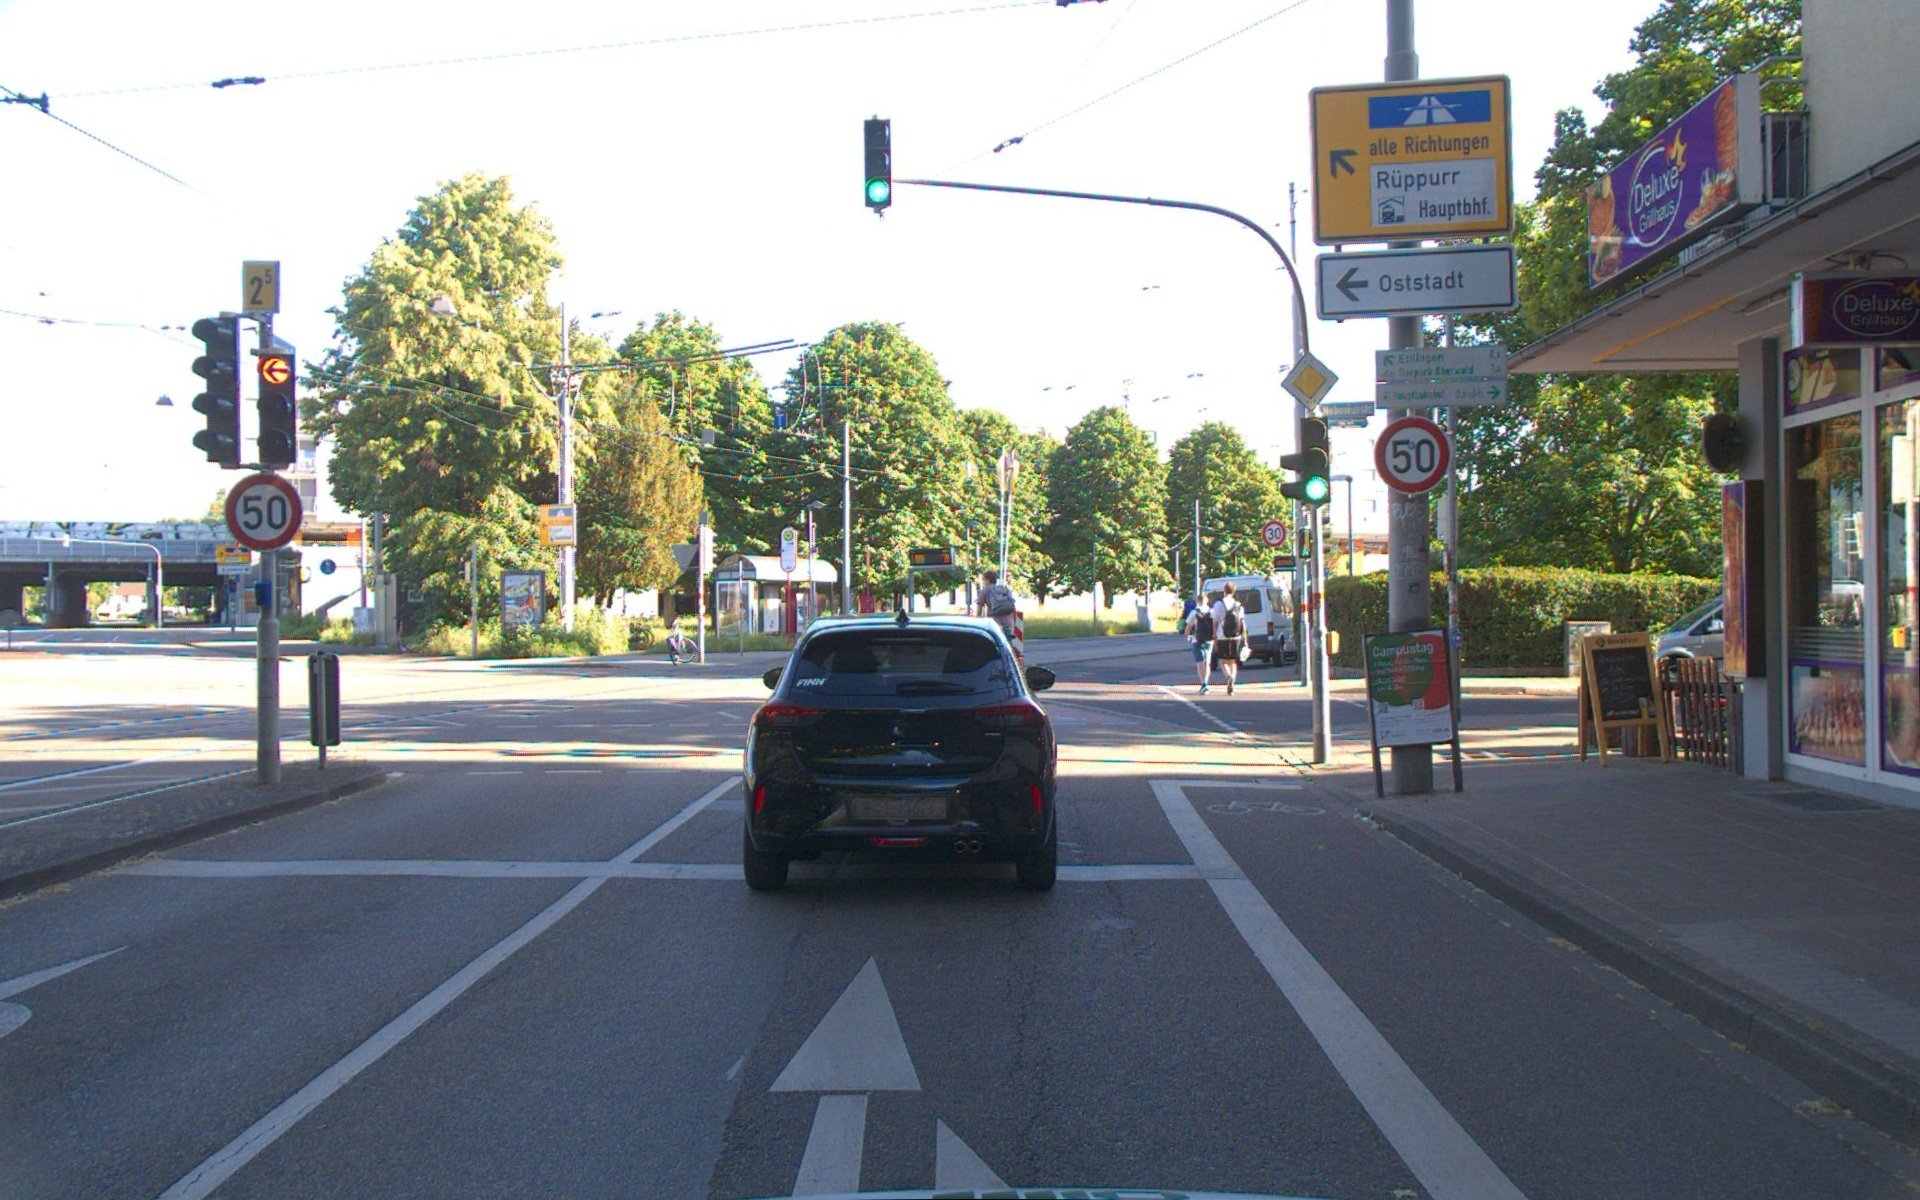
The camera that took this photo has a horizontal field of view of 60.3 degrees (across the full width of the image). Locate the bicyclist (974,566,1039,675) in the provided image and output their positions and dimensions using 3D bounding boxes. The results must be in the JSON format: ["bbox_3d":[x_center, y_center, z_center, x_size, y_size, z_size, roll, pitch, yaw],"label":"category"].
[{"bbox_3d":[0.670,0.292,24.187,0.823,1.536,1.368,0,0,-4],"label":"bicyclist"}]

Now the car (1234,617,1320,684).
[{"bbox_3d":[9.111,1.416,47.346,1.763,1.794,3.891,-1,0,21],"label":"car"}]

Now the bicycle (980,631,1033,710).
[{"bbox_3d":[0.661,1.008,24.212,0.654,1.078,2.081,0,0,-2],"label":"bicycle"}]

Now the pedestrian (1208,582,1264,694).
[{"bbox_3d":[4.716,0.643,28.232,0.691,1.879,0.697,-1,-1,38],"label":"pedestrian"}]

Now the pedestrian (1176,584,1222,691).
[{"bbox_3d":[4.163,0.649,28.818,0.684,1.823,0.617,-1,-1,-2],"label":"pedestrian"}]

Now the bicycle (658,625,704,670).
[{"bbox_3d":[-6.990,1.176,41.551,0.808,1.078,1.883,0,0,1],"label":"bicycle"}]

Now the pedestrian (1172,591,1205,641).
[{"bbox_3d":[8.428,0.579,61.034,0.939,1.824,0.995,-1,-1,24],"label":"pedestrian"}]

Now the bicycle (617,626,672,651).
[{"bbox_3d":[-11.532,1.405,60.463,1.837,0.922,0.660,-1,-1,5],"label":"bicycle"}]

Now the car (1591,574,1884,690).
[{"bbox_3d":[13.074,0.583,28.028,4.087,1.846,1.807,-1,-3,7],"label":"car"}]

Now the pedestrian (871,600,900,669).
[{"bbox_3d":[-1.898,0.869,42.105,0.711,1.723,0.700,-1,-1,-3],"label":"pedestrian"}]

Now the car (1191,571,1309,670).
[{"bbox_3d":[7.328,0.533,41.436,2.047,2.317,4.305,0,-1,22],"label":"car"}]

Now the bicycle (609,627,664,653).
[{"bbox_3d":[-11.650,1.429,59.588,1.837,0.922,0.660,-1,-1,5],"label":"bicycle"}]

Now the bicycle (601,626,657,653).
[{"bbox_3d":[-11.713,1.405,58.601,1.837,0.922,0.660,-1,-1,5],"label":"bicycle"}]

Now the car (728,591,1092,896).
[{"bbox_3d":[-0.252,0.709,10.052,1.763,1.466,3.939,-1,0,0],"label":"car"}]
